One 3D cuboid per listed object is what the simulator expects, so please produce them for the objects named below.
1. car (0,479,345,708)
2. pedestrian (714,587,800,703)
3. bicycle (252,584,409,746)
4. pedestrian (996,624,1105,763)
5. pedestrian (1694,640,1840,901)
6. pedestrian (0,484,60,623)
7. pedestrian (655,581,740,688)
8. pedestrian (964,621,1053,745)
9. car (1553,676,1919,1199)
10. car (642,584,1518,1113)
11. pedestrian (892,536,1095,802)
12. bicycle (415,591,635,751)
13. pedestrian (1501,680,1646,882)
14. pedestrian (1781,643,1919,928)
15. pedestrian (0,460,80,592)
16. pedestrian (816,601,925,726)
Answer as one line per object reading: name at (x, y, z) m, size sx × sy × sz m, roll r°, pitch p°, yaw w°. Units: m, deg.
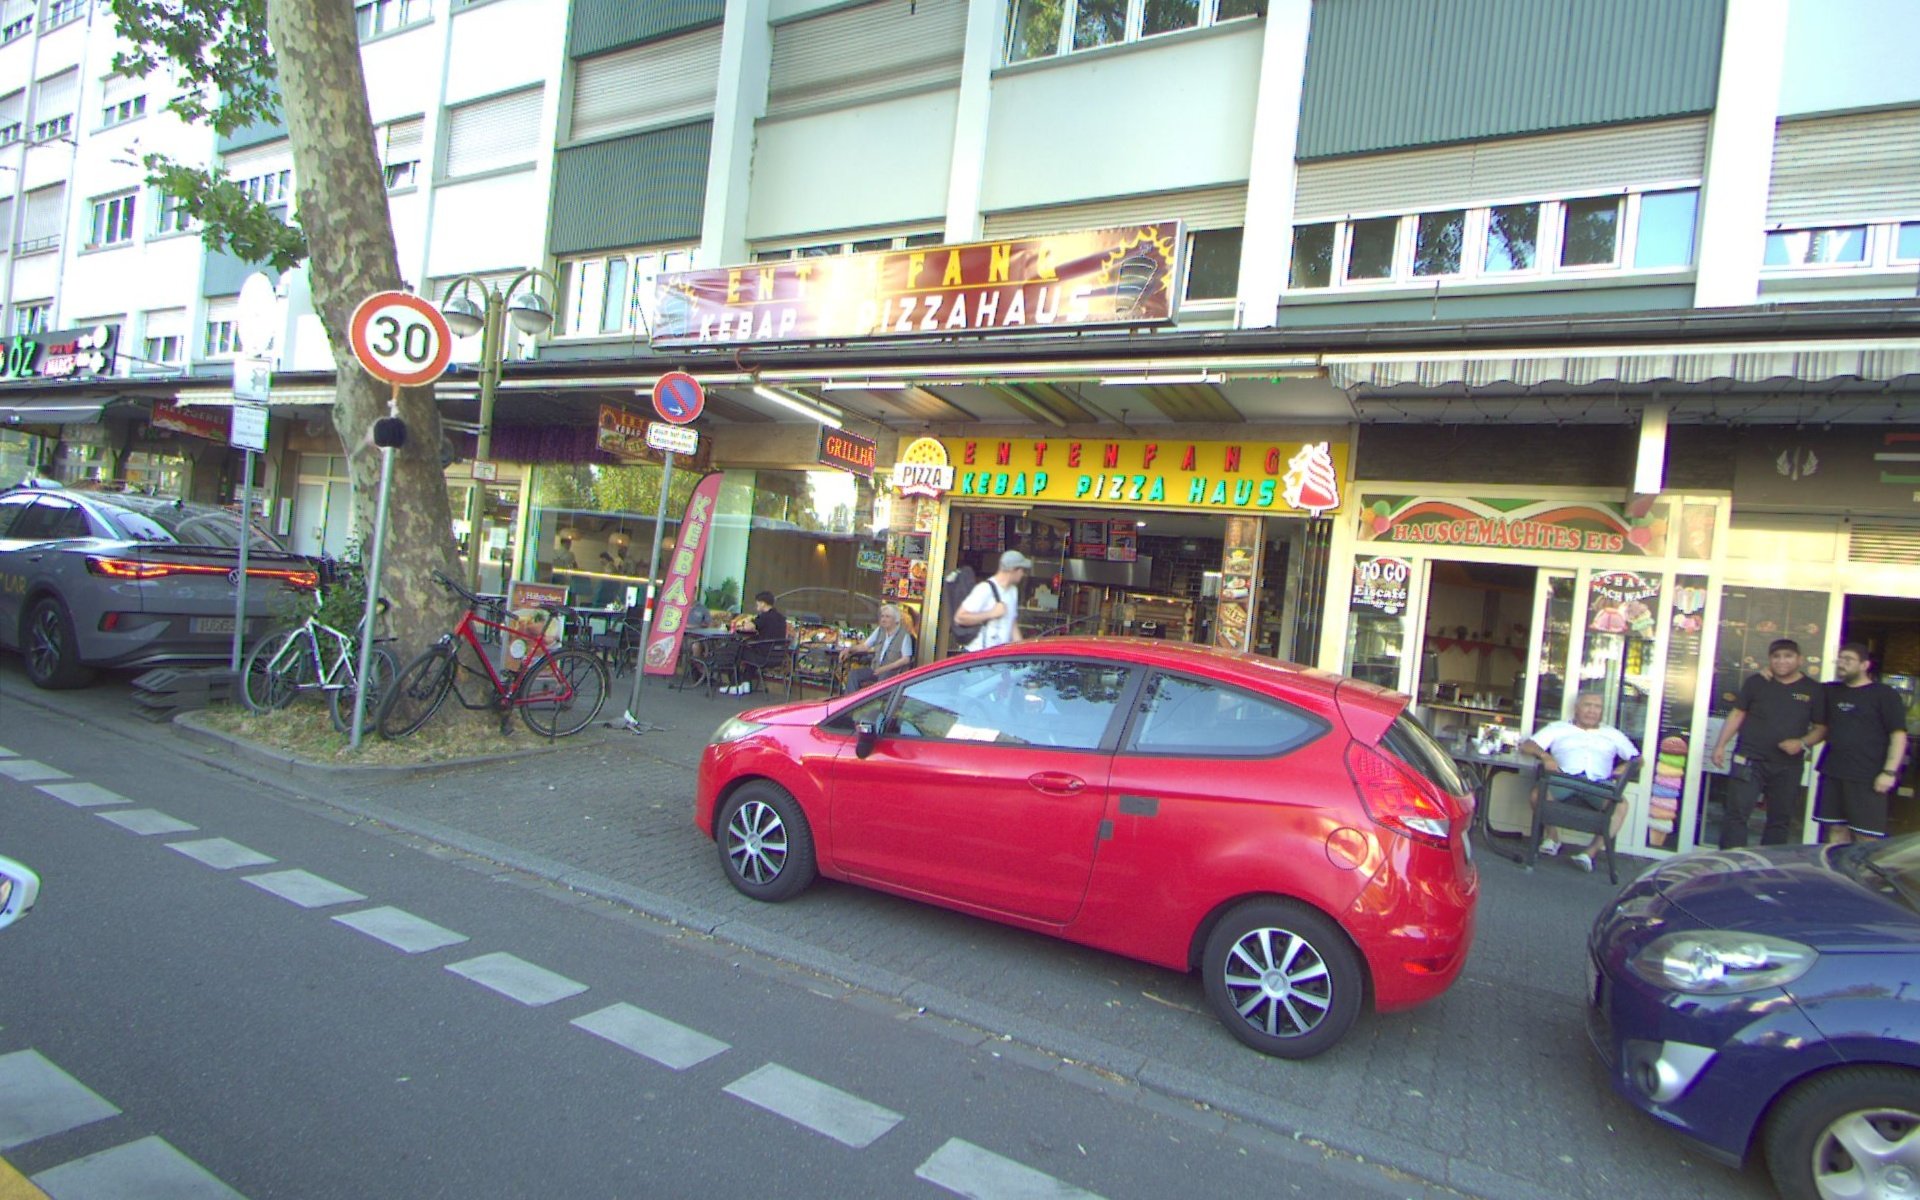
car at (-7.804, -0.192, 9.174) m, size 4.223 × 1.619 × 1.742 m, roll 7°, pitch 2°, yaw 27°
pedestrian at (-2.379, 0.518, 11.791) m, size 0.701 × 1.260 × 0.614 m, roll 7°, pitch 3°, yaw 41°
bicycle at (-4.433, 0.433, 7.072) m, size 1.110 × 0.941 × 0.295 m, roll 9°, pitch 6°, yaw 21°
pedestrian at (0.844, 0.845, 9.404) m, size 0.740 × 1.172 × 0.593 m, roll 6°, pitch 3°, yaw 33°
pedestrian at (5.870, 1.202, 7.359) m, size 0.588 × 1.759 × 0.587 m, roll 8°, pitch 3°, yaw 34°
pedestrian at (-11.498, -0.578, 12.004) m, size 0.741 × 1.600 × 0.873 m, roll 6°, pitch 0°, yaw -20°
pedestrian at (-3.224, 0.416, 12.354) m, size 0.694 × 1.220 × 0.675 m, roll 7°, pitch 3°, yaw 42°
pedestrian at (0.504, 0.832, 10.375) m, size 0.585 × 1.172 × 0.671 m, roll 6°, pitch 3°, yaw 31°
car at (3.883, 1.227, 2.897) m, size 3.543 × 1.485 × 1.620 m, roll 7°, pitch 2°, yaw 29°
car at (0.488, 0.852, 4.987) m, size 3.780 × 1.448 × 1.668 m, roll 7°, pitch 2°, yaw 27°
pedestrian at (0.287, 0.531, 8.175) m, size 1.104 × 1.913 × 1.023 m, roll 6°, pitch 0°, yaw 31°
bicycle at (-3.221, 0.512, 7.551) m, size 0.291 × 1.082 × 1.455 m, roll 12°, pitch 7°, yaw 42°
pedestrian at (4.648, 1.301, 7.615) m, size 0.767 × 1.249 × 1.202 m, roll 6°, pitch 3°, yaw 33°
pedestrian at (6.224, 1.221, 6.924) m, size 0.637 × 1.783 × 0.609 m, roll 8°, pitch 3°, yaw 35°
pedestrian at (-15.057, -1.189, 16.413) m, size 0.702 × 2.040 × 0.769 m, roll 7°, pitch 2°, yaw 31°
pedestrian at (-0.967, 0.670, 10.859) m, size 0.861 × 1.237 × 0.688 m, roll 2°, pitch 3°, yaw -44°
